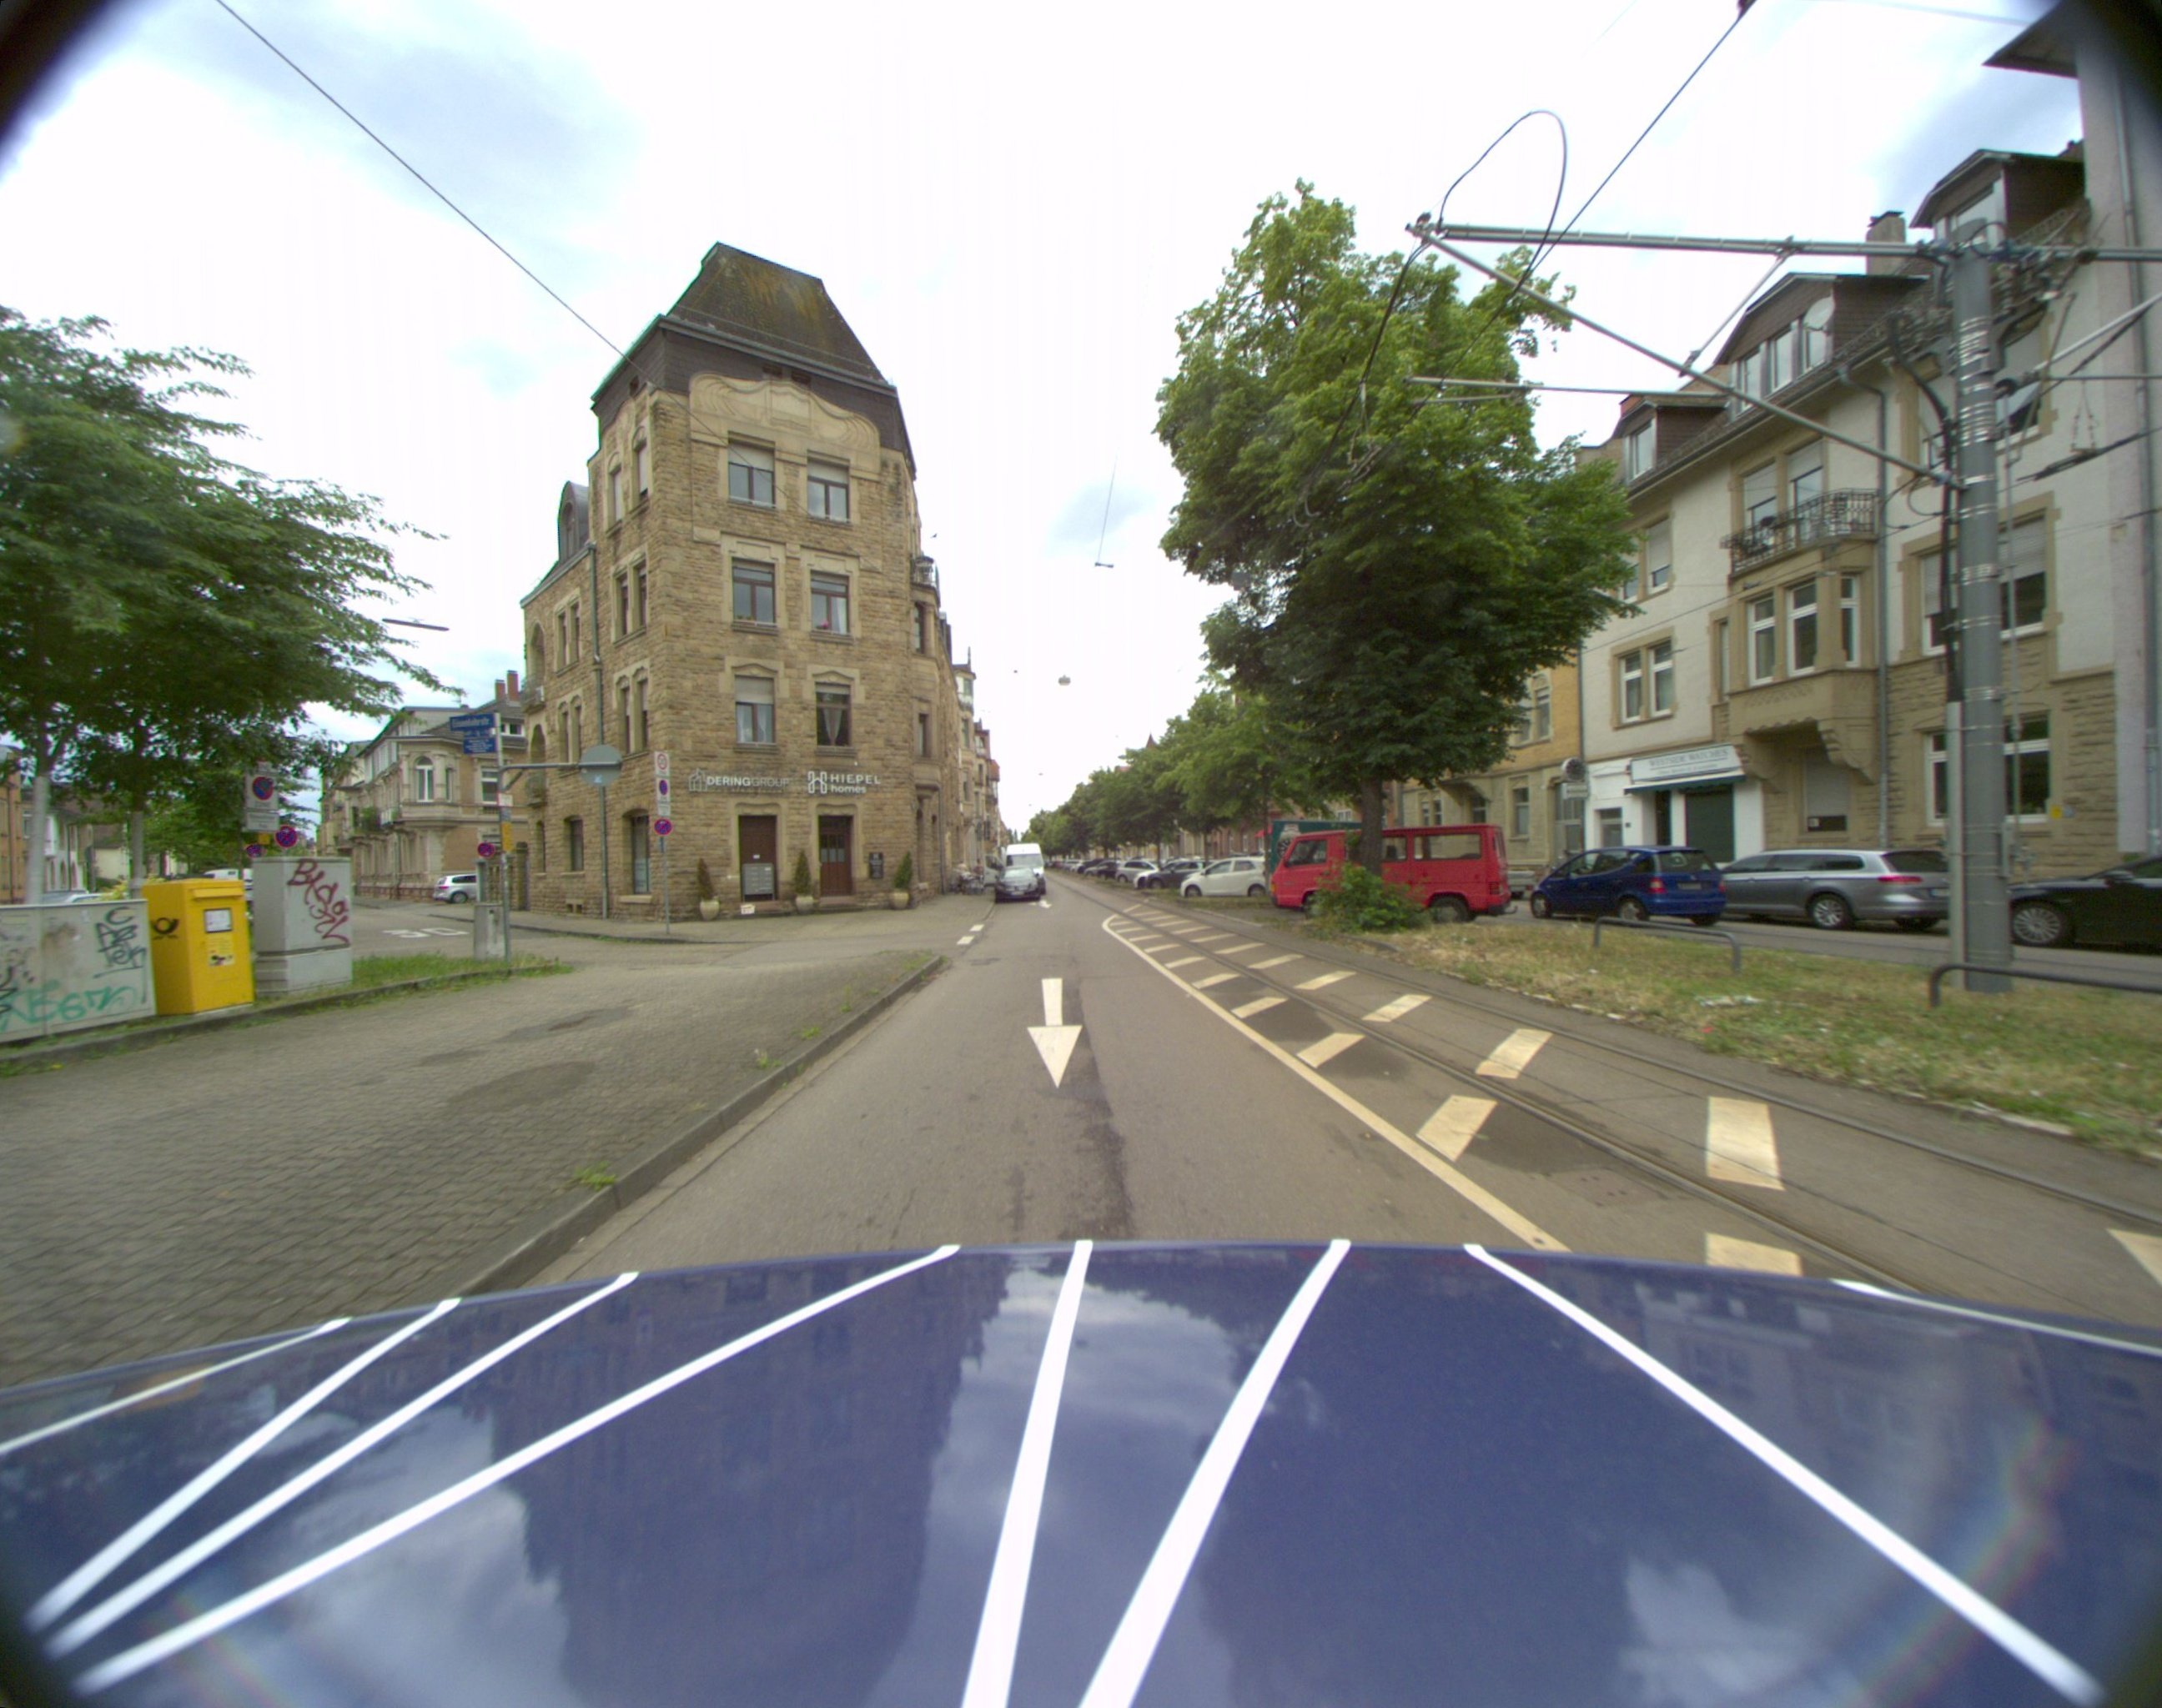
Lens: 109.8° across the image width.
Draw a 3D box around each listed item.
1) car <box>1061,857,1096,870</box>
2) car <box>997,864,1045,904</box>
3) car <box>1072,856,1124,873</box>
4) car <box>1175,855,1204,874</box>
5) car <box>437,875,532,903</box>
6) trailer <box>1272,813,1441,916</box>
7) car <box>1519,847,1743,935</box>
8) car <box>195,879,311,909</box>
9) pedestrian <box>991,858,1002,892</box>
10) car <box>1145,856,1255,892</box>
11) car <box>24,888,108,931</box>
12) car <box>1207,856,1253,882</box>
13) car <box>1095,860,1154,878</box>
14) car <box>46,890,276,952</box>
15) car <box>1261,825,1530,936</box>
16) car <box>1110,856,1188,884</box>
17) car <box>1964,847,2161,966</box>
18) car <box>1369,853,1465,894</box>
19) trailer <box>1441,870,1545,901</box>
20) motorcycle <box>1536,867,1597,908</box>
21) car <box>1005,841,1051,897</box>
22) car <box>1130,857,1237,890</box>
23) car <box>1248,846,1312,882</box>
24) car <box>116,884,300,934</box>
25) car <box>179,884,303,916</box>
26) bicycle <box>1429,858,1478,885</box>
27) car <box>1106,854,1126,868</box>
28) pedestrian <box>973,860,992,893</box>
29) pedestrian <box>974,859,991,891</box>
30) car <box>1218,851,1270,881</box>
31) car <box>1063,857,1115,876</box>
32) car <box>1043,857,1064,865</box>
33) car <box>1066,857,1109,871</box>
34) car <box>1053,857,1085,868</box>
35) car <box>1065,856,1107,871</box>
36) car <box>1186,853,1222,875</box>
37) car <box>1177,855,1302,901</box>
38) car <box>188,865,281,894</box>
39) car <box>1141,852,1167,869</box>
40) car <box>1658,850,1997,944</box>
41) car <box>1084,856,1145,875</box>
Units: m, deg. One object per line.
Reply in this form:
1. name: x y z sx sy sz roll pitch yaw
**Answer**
1. car: -0.378 1.235 96.571 4.195 1.600 1.728 -1 2 36
2. car: -2.545 1.215 32.664 1.829 1.441 5.005 -3 0 -4
3. car: 1.527 1.011 71.133 4.529 1.481 2.040 -2 1 39
4. car: 9.481 0.878 66.787 1.667 1.550 3.720 -2 0 -5
5. car: -33.640 1.944 42.901 4.052 1.425 1.750 0 0 -45
6. trailer: 6.837 0.275 18.850 3.662 2.330 1.934 -2 0 28
7. car: 11.003 0.658 15.538 1.649 1.525 3.627 -2 0 -7
8. car: -46.724 2.232 42.981 4.044 1.501 1.885 -1 0 -11
9. pedestrian: -4.446 1.094 40.119 0.500 1.804 0.803 0 0 -3
10. car: 5.171 0.873 33.175 4.328 1.426 1.903 -2 0 37
11. car: -40.223 2.150 30.194 4.032 1.425 1.759 -1 0 40
12. car: 8.872 0.862 45.640 1.649 1.374 3.881 -2 0 -5
13. car: 3.064 1.096 54.432 3.952 1.195 1.671 -2 0 39
14. car: -24.343 1.744 20.275 3.545 1.425 1.705 0 0 -17
15. car: 6.353 0.516 15.574 4.755 1.962 1.963 -2 0 34
16. car: 3.916 0.919 44.181 4.106 1.475 1.800 -2 0 36
17. car: 14.229 0.643 9.034 1.639 1.434 4.760 -2 0 -6
18. car: 12.907 0.704 29.458 1.639 1.434 3.921 -2 0 -6
19. trailer: 13.209 0.980 24.529 1.459 0.887 3.075 0 0 -6
20. motorcycle: 13.721 0.928 21.566 0.710 1.032 2.232 -2 0 12
21. car: -2.716 0.718 39.068 2.019 2.534 7.014 -3 0 -4
22. car: 4.871 0.947 36.337 4.675 1.426 1.902 -2 0 35
23. car: 11.371 0.534 43.733 1.887 1.941 5.091 -2 0 -5
24. car: -28.023 1.727 24.519 3.544 1.425 1.705 0 0 -14
25. car: -44.295 2.412 40.165 4.044 1.501 1.885 0 0 -11
26. bicycle: 15.572 0.720 31.827 0.713 1.066 2.258 -2 0 -6
27. car: 4.134 0.791 90.460 1.649 1.495 4.619 -2 0 -5
28. pedestrian: -5.044 1.137 38.808 0.866 1.690 0.537 0 0 -19
29. pedestrian: -5.287 1.131 40.796 0.706 1.690 0.492 0 0 -32
30. car: 10.555 0.734 49.572 1.819 1.771 5.114 -2 0 -5
31. car: 0.729 1.126 68.468 4.520 1.623 1.769 -2 1 39
32. car: -5.923 1.503 163.397 3.990 1.602 1.902 -2 -1 26
33. car: 0.612 1.019 78.725 4.119 1.304 1.867 -3 0 38
34. car: -1.825 1.322 114.332 4.595 1.458 1.890 -2 0 41
35. car: 0.540 1.088 86.173 4.552 1.484 1.867 -2 1 41
36. car: 10.007 0.793 61.990 1.745 1.617 4.551 -2 0 -5
37. car: 5.449 0.835 26.356 3.853 1.454 1.693 -2 0 37
38. car: -77.981 2.322 70.065 5.326 2.488 2.346 -2 0 -11
39. car: 6.675 0.600 69.686 1.649 1.495 3.881 -2 0 -5
40. car: 13.716 0.697 14.454 1.639 1.434 4.568 -2 0 -6
41. car: 2.646 0.964 60.998 4.655 1.360 1.761 -2 0 38
